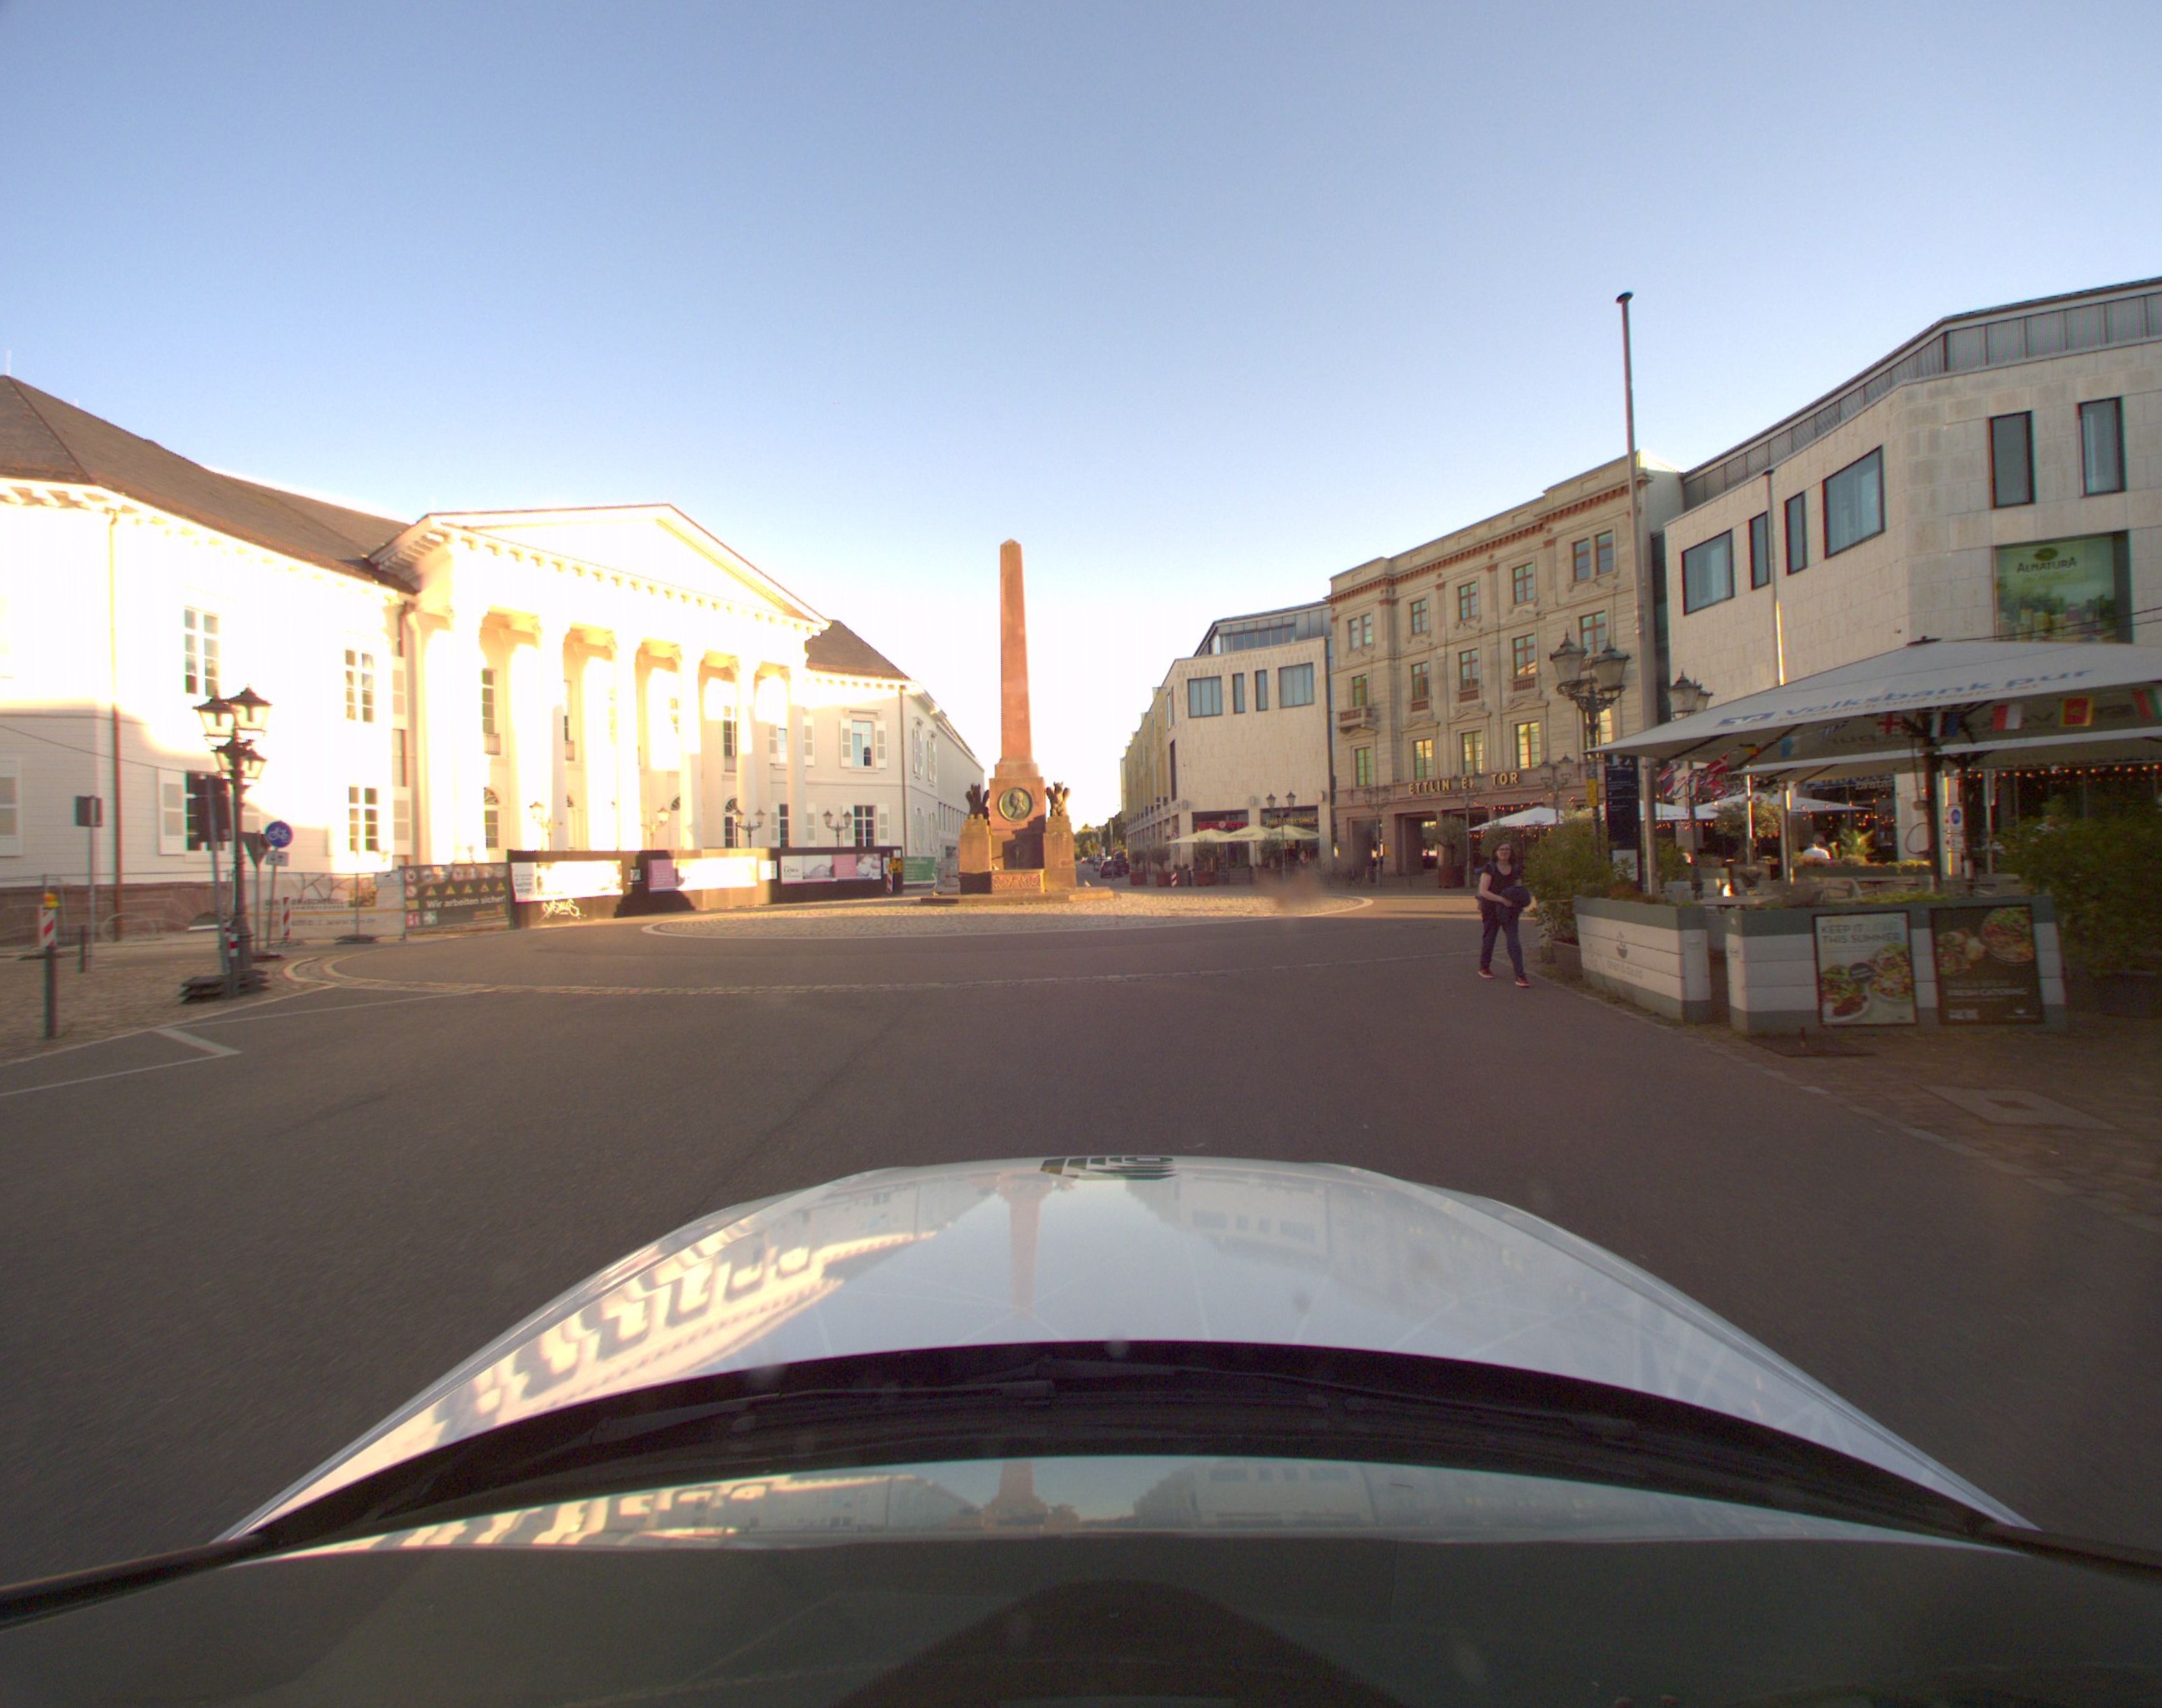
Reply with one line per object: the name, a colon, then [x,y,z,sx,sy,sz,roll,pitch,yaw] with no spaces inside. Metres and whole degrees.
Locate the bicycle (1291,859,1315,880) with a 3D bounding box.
bicycle: [11.335,0.769,41.546,0.593,1.031,1.656,-2,0,35]

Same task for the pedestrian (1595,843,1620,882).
pedestrian: [20.710,0.336,32.055,0.586,1.478,0.626,-2,0,11]

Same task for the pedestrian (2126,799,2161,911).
pedestrian: [18.598,0.009,13.966,0.677,1.897,0.878,-2,-1,45]

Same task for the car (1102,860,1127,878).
car: [2.801,1.240,69.110,1.986,1.464,4.001,-2,0,1]

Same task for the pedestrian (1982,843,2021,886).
pedestrian: [25.214,0.289,22.316,0.494,1.156,0.472,-2,-1,8]

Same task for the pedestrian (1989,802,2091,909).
pedestrian: [18.110,0.019,15.388,1.013,1.932,1.017,-2,0,-29]

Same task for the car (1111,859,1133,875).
car: [3.867,1.213,77.595,1.986,1.464,4.001,-2,0,1]

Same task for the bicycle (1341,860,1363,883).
bicycle: [12.604,0.811,37.852,0.501,1.031,1.656,-2,0,35]

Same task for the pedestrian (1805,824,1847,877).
pedestrian: [23.864,-0.108,26.091,0.689,1.647,0.694,-2,0,11]

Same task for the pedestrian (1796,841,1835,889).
pedestrian: [20.655,0.300,22.903,0.543,1.310,0.728,-2,0,19]

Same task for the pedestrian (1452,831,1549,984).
pedestrian: [4.740,0.584,9.242,0.688,1.647,0.695,-2,0,-1]

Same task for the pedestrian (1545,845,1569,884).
pedestrian: [18.365,0.415,31.435,0.542,1.478,0.624,-2,0,1]

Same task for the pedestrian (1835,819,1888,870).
pedestrian: [26.469,-0.321,27.637,0.922,1.647,0.870,-2,0,11]

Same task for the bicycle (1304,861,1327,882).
bicycle: [11.874,0.871,41.218,0.613,1.031,1.656,-2,0,35]

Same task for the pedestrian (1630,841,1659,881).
pedestrian: [21.414,0.274,30.962,0.623,1.478,0.622,-2,0,-11]

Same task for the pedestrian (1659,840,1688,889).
pedestrian: [18.264,0.319,25.103,0.524,1.478,0.565,-2,0,18]

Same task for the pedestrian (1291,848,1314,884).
pedestrian: [10.892,0.563,40.084,0.899,1.728,0.851,-2,0,8]

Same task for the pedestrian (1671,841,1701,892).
pedestrian: [18.047,0.371,24.294,0.524,1.478,0.565,-2,0,20]
